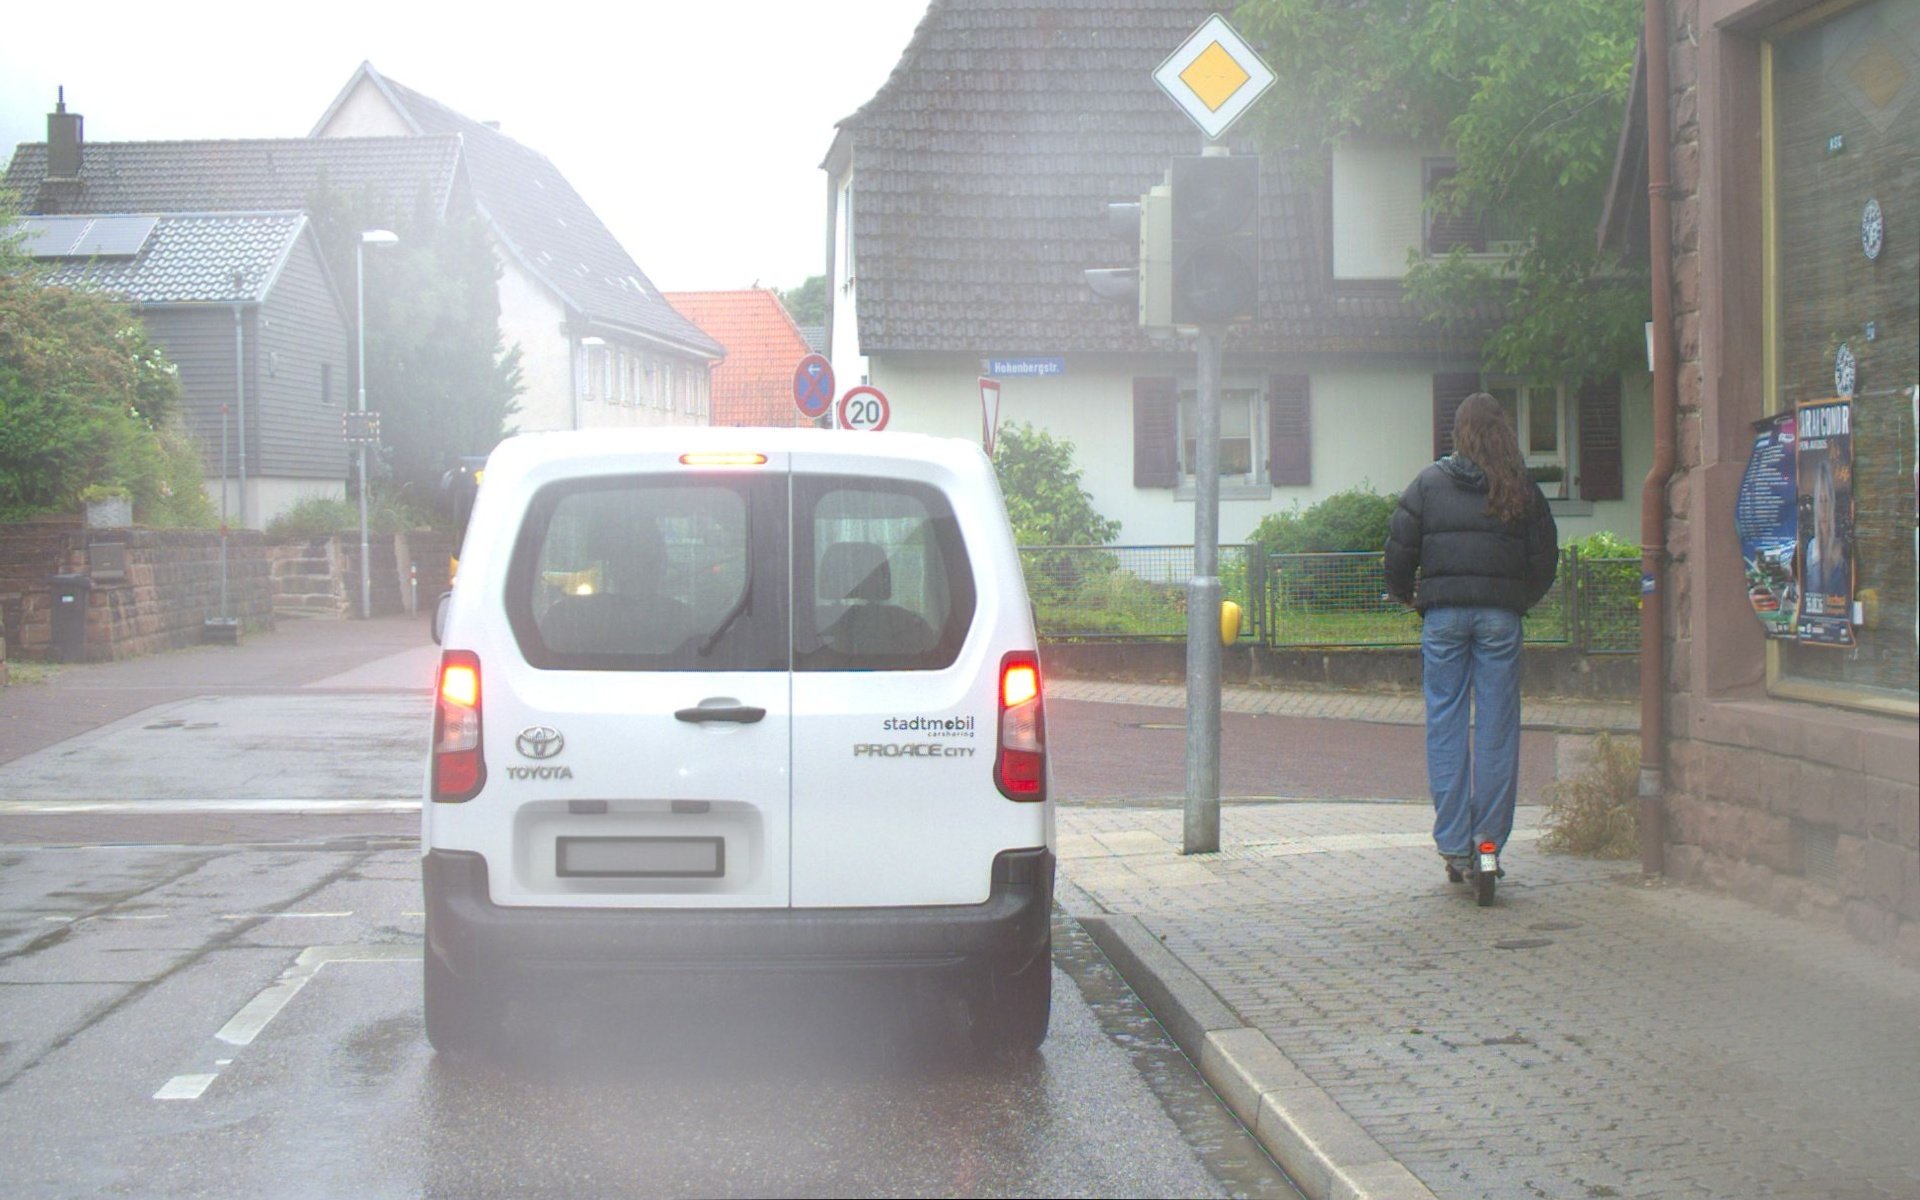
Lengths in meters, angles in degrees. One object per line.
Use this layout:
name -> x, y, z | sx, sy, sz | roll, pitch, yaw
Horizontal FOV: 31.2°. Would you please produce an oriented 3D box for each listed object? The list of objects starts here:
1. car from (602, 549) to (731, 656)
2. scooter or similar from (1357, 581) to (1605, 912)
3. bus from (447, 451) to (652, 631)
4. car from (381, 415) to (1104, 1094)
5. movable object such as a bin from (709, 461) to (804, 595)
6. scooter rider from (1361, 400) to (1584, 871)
car -> -4.676, 0.007, 55.224 | 1.809, 1.591, 3.756 | 1, 1, -1
scooter or similar -> 1.914, 0.513, 12.791 | 0.620, 1.123, 1.402 | 0, 2, -4
bus -> -7.492, -1.261, 64.240 | 2.649, 2.989, 12.195 | 0, 3, -1
car -> -0.702, 0.375, 11.075 | 1.894, 1.787, 3.814 | 1, 1, -4
movable object such as a bin -> -4.158, -1.484, 70.714 | 1.727, 2.644, 3.974 | 1, 1, -1
scooter rider -> 1.914, 0.127, 12.887 | 0.731, 1.727, 0.518 | 0, 0, -4
